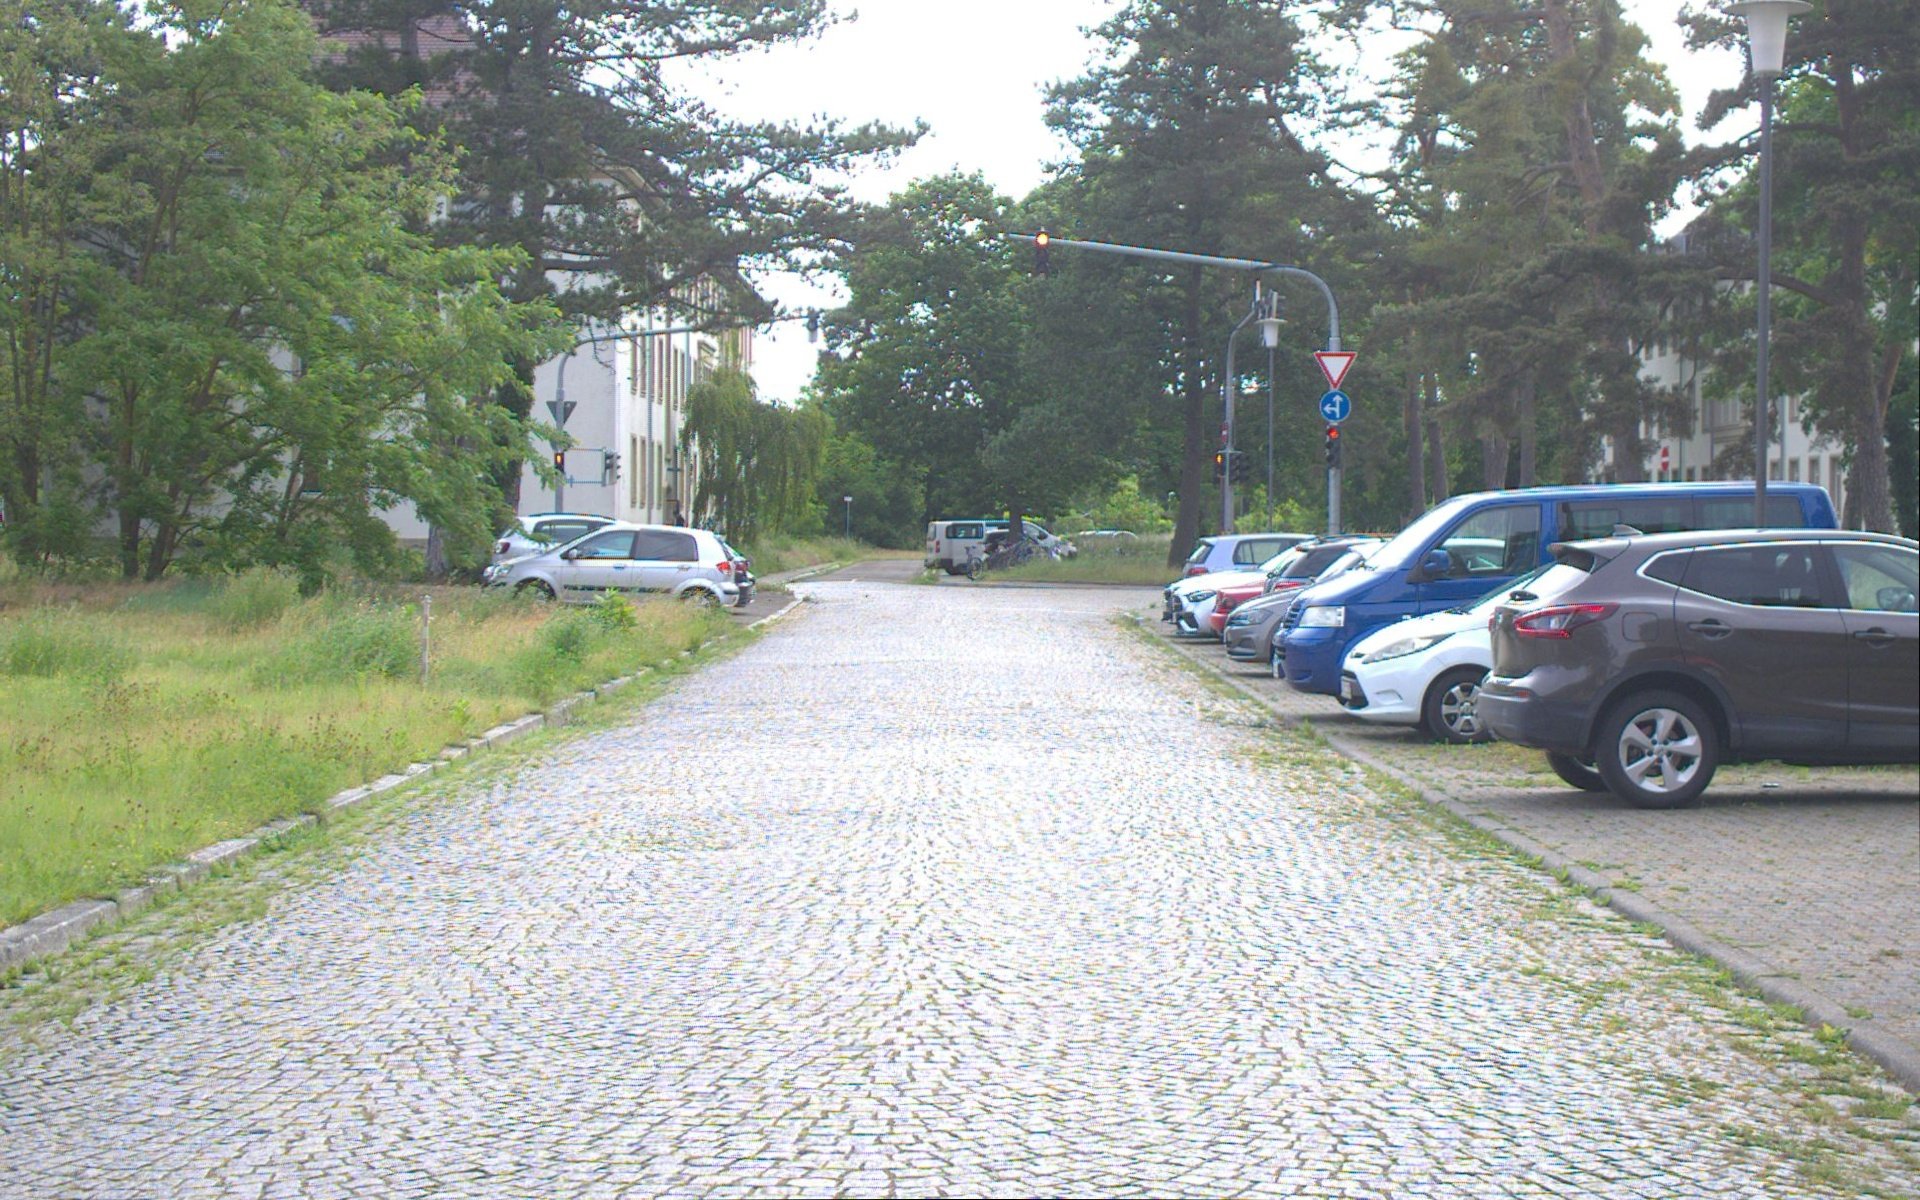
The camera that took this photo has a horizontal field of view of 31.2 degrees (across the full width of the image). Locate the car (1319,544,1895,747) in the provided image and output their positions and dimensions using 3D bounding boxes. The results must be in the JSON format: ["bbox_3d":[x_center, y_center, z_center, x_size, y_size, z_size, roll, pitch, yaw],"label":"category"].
[{"bbox_3d":[4.952,0.327,26.644,4.097,1.473,1.722,-1,1,-3],"label":"car"}]

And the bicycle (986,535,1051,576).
[{"bbox_3d":[1.782,-1.358,105.051,1.881,1.167,0.665,2,1,-5],"label":"bicycle"}]

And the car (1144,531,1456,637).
[{"bbox_3d":[4.962,-0.249,50.362,4.227,1.474,1.710,-1,1,-10],"label":"car"}]

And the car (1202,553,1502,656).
[{"bbox_3d":[4.850,0.049,42.895,3.587,1.218,1.628,0,1,2],"label":"car"}]

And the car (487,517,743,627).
[{"bbox_3d":[-5.193,-0.440,52.062,3.720,1.475,1.673,3,1,-2],"label":"car"}]

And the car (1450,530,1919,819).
[{"bbox_3d":[5.156,0.393,20.285,4.203,1.589,1.953,0,1,-2],"label":"car"}]

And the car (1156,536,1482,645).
[{"bbox_3d":[4.942,-0.145,47.597,4.184,1.432,1.756,-1,1,-7],"label":"car"}]

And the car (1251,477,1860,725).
[{"bbox_3d":[4.976,-0.018,29.183,4.795,1.997,1.966,0,1,-2],"label":"car"}]

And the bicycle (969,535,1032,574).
[{"bbox_3d":[1.277,-1.436,108.552,1.881,1.167,0.665,2,1,-5],"label":"bicycle"}]

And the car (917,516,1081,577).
[{"bbox_3d":[1.355,-1.861,119.854,5.374,2.094,2.179,0,1,-12],"label":"car"}]

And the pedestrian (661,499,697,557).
[{"bbox_3d":[-9.627,-2.463,117.631,1.074,1.952,1.121,2,1,0],"label":"pedestrian"}]

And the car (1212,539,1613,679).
[{"bbox_3d":[4.871,0.078,37.401,4.130,1.442,1.766,0,1,1],"label":"car"}]

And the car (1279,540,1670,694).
[{"bbox_3d":[5.108,0.151,34.495,3.653,1.473,1.766,0,1,0],"label":"car"}]

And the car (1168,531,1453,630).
[{"bbox_3d":[5.368,-0.319,52.912,4.134,1.458,1.634,-1,1,-5],"label":"car"}]

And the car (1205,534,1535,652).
[{"bbox_3d":[5.353,-0.108,45.231,4.105,1.471,1.685,0,1,-1],"label":"car"}]

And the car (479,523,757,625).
[{"bbox_3d":[-5.426,-0.430,54.661,4.297,1.548,1.812,-1,1,-5],"label":"car"}]

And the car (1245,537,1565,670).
[{"bbox_3d":[5.175,0.025,40.266,3.505,1.482,1.743,0,1,0],"label":"car"}]

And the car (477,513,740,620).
[{"bbox_3d":[-5.859,-0.568,57.468,4.297,1.726,1.653,-1,1,-5],"label":"car"}]
